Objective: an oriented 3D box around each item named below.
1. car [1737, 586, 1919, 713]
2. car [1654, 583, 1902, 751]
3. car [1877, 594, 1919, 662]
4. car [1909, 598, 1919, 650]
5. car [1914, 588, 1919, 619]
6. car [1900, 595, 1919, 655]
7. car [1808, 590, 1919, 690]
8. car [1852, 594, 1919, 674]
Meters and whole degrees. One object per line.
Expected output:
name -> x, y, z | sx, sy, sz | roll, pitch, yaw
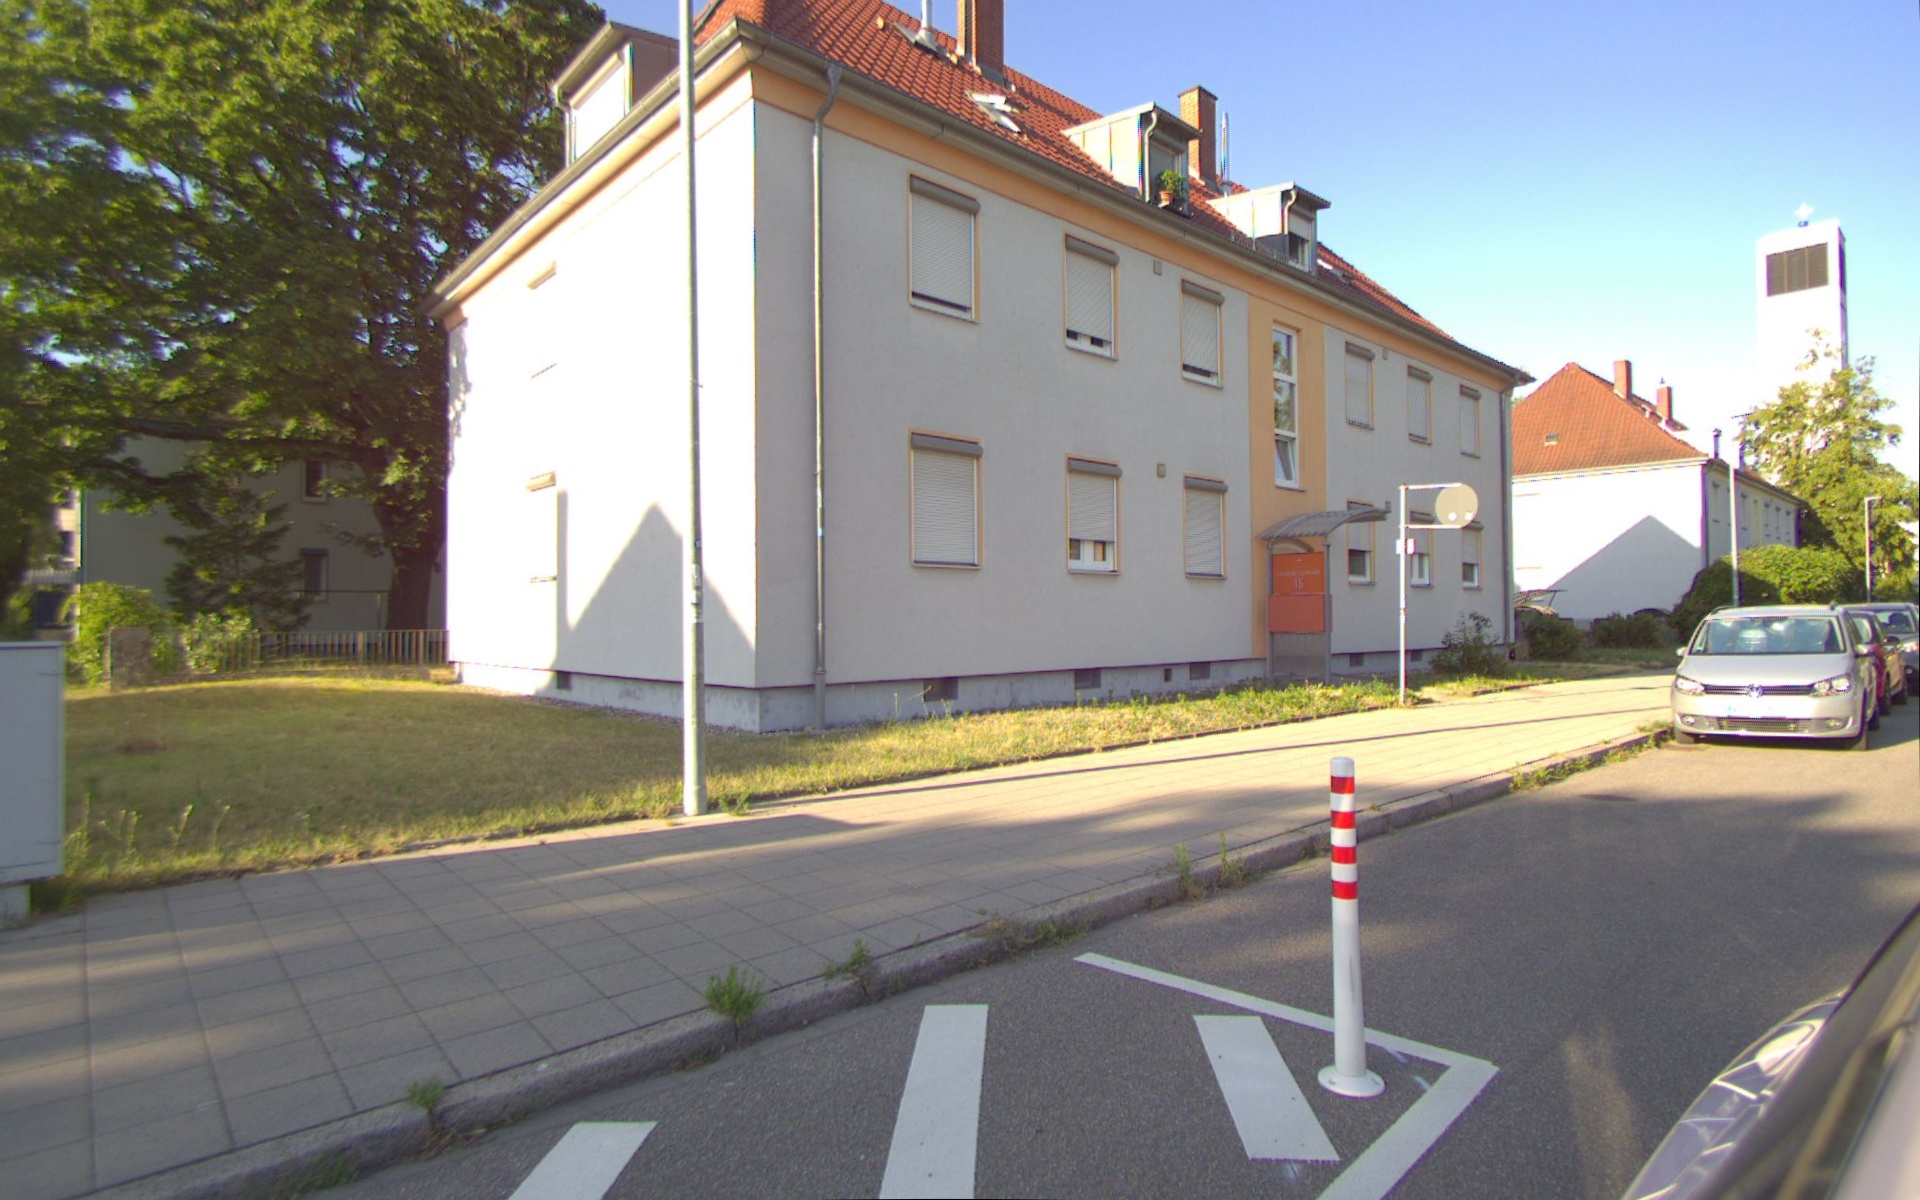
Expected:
car -> 13.651, 0.699, 15.759 | 3.934, 1.717, 1.845 | 0, -3, -44
car -> 10.103, 0.716, 12.399 | 3.934, 1.717, 1.845 | 0, -3, -44
car -> 25.768, 0.700, 26.829 | 3.934, 1.717, 1.845 | 0, -3, -44
car -> 33.589, 0.759, 34.294 | 3.934, 1.717, 1.845 | 0, -3, -44
car -> 54.234, 0.148, 56.029 | 3.934, 1.717, 1.845 | 0, -3, -44
car -> 29.614, 0.699, 30.345 | 3.934, 1.717, 1.845 | 0, -3, -44
car -> 17.576, 0.712, 19.175 | 3.934, 1.717, 1.845 | 0, -3, -44
car -> 21.865, 0.723, 23.121 | 3.934, 1.717, 1.845 | 0, -3, -44
